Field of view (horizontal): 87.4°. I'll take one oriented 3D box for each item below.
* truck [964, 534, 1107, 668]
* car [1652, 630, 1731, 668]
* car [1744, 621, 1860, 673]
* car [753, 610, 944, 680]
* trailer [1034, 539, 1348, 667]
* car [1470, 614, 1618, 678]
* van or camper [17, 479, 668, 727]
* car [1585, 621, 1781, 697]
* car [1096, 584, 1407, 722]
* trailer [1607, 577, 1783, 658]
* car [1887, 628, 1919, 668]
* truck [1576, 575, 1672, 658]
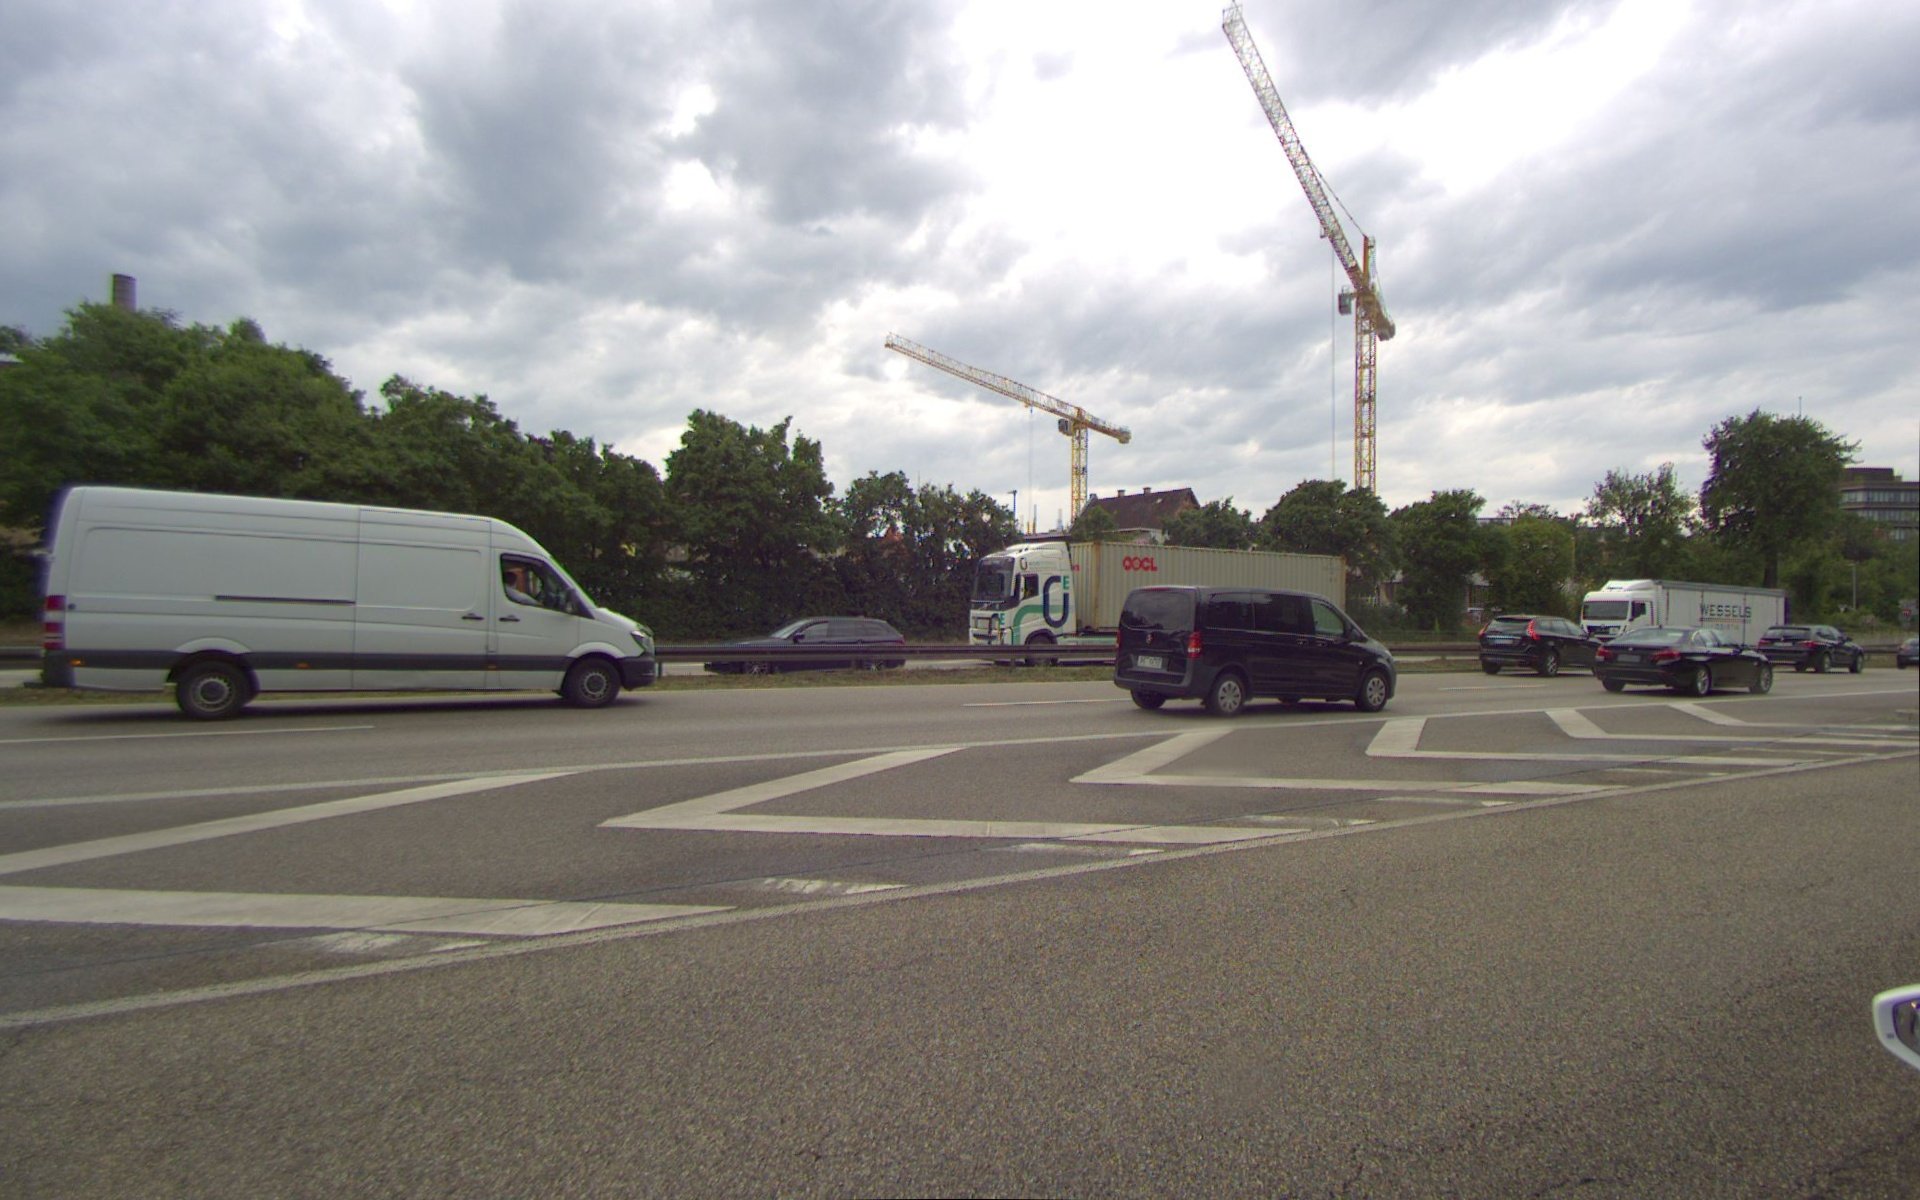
[{"bbox_3d":[2.450,0.085,32.696,3.952,4.074,2.395,1,-1,-30],"label":"truck"},{"bbox_3d":[32.720,2.151,44.906,3.522,1.605,1.590,1,-1,-30],"label":"car"},{"bbox_3d":[29.917,1.634,35.667,4.257,1.704,1.881,1,-1,-31],"label":"car"},{"bbox_3d":[-2.724,1.083,24.815,4.258,1.580,1.982,1,-1,-32],"label":"car"},{"bbox_3d":[8.713,0.246,36.341,12.922,4.082,2.386,1,-1,-30],"label":"trailer"},{"bbox_3d":[16.459,1.266,28.283,4.216,1.657,1.744,1,0,-30],"label":"car"},{"bbox_3d":[-7.640,0.110,13.423,6.877,2.656,2.039,1,-1,-31],"label":"van or camper"},{"bbox_3d":[15.842,1.243,21.961,4.610,1.476,1.705,1,0,-29],"label":"car"},{"bbox_3d":[4.617,0.768,15.705,4.757,1.876,1.983,1,0,-31],"label":"car"},{"bbox_3d":[40.183,1.023,54.633,13.622,4.035,2.581,1,-1,-31],"label":"trailer"},{"bbox_3d":[41.761,2.075,43.213,3.962,1.629,1.679,1,1,-31],"label":"car"},{"bbox_3d":[33.475,0.852,50.653,3.953,4.043,2.584,1,-1,-30],"label":"truck"}]
